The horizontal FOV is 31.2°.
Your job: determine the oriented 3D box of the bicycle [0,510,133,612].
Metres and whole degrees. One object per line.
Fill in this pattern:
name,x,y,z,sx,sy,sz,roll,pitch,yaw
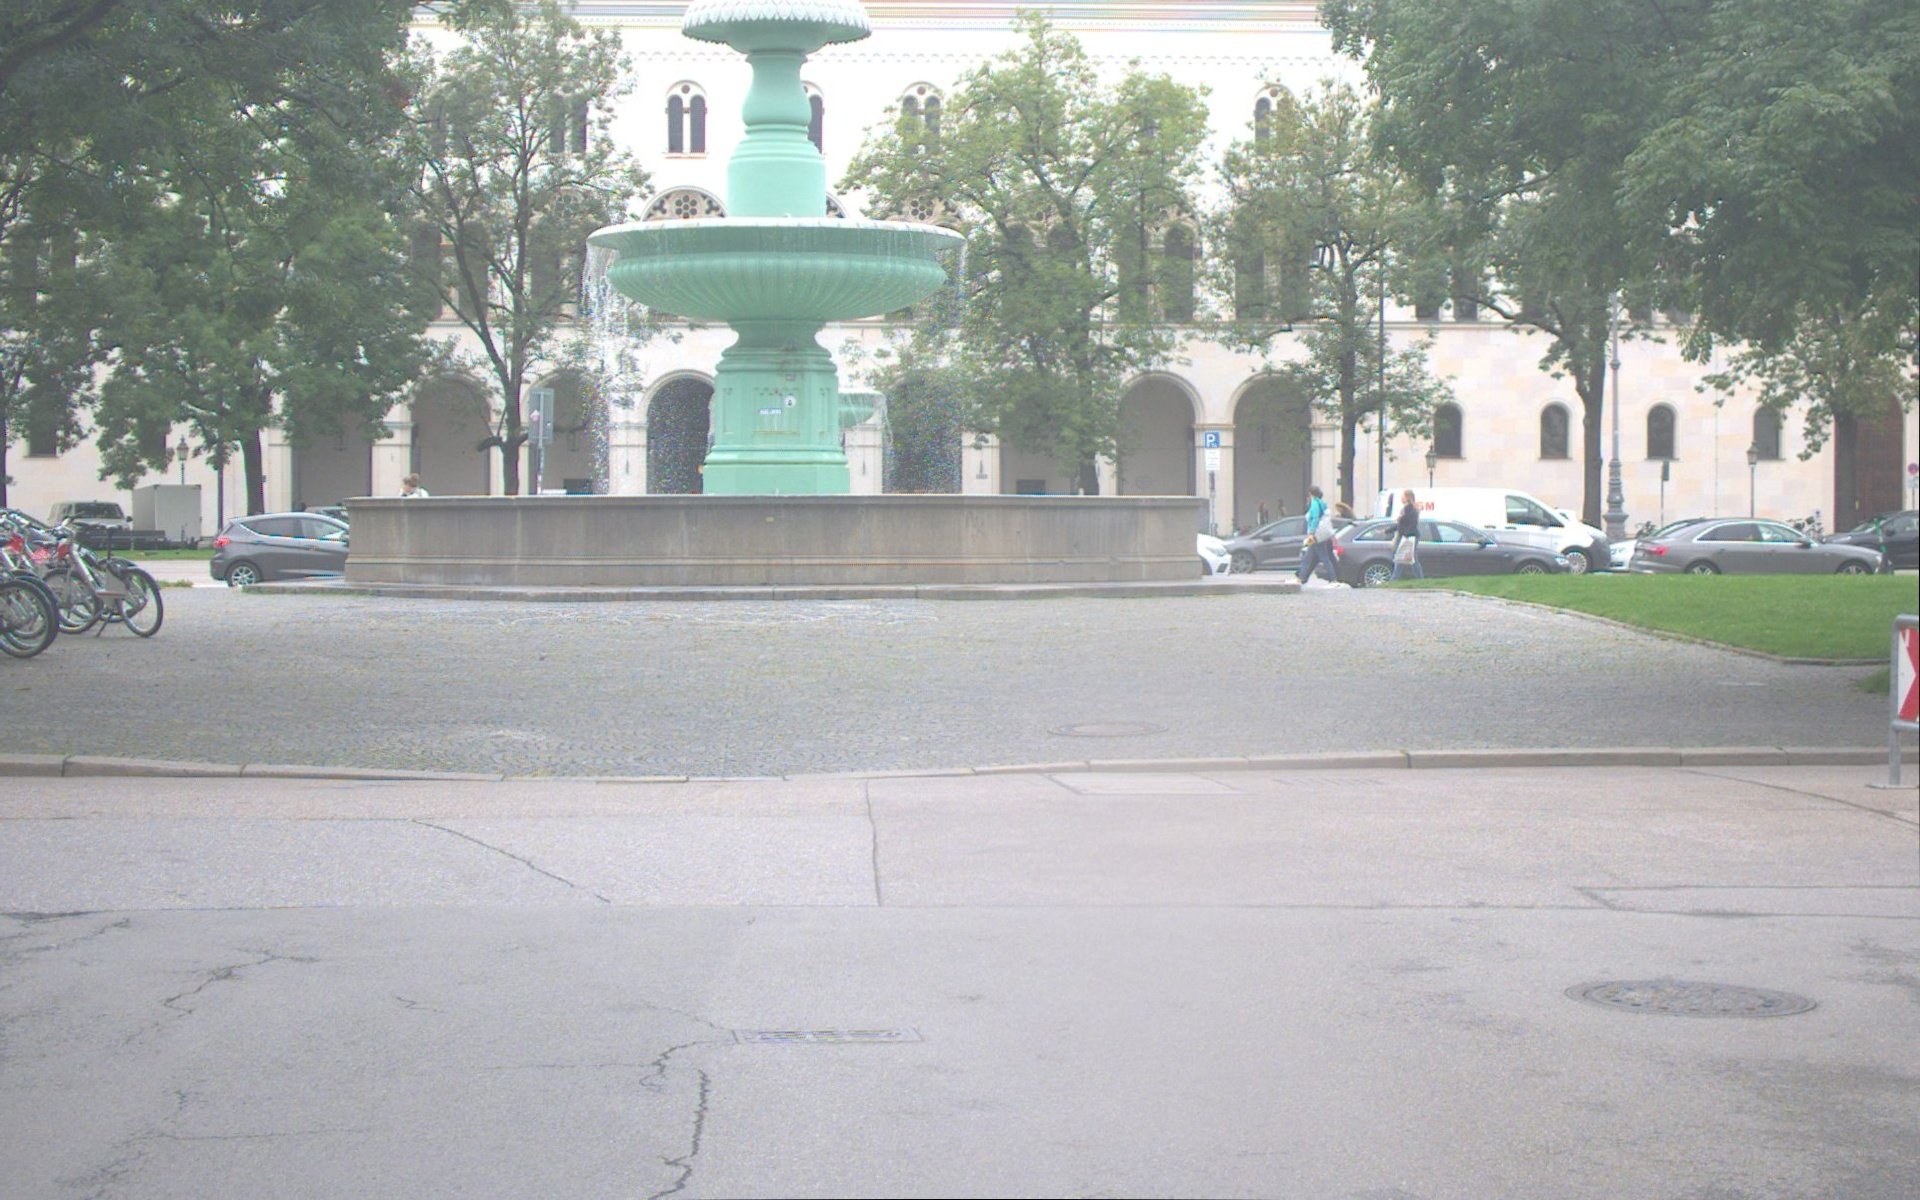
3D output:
bicycle,-9.425,-0.409,35.575,1.536,1.016,0.698,1,2,9

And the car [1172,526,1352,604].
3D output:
car,7.109,-0.835,81.213,3.986,1.744,1.809,1,2,-3

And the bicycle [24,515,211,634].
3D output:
bicycle,-8.032,-0.251,32.797,1.619,1.095,0.616,1,2,9

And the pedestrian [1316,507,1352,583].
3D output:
pedestrian,6.065,-0.896,55.777,0.443,1.210,0.535,1,2,24

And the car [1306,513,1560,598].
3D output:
car,8.606,-0.828,62.796,4.357,1.519,1.804,0,2,-1

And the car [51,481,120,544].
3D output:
car,-29.039,-2.933,114.092,2.131,2.006,4.193,0,2,-16

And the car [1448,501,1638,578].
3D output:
car,13.772,-1.436,81.345,4.096,1.735,1.747,1,2,-5

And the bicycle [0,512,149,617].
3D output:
bicycle,-9.040,-0.368,34.659,1.536,1.016,0.698,1,2,9

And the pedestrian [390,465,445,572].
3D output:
pedestrian,-8.329,-1.251,52.792,0.750,1.634,0.710,0,2,-3

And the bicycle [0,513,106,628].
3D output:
bicycle,-9.185,-0.299,33.744,1.401,1.095,0.656,1,2,9

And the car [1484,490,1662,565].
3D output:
car,15.247,-1.813,85.636,3.986,1.777,1.932,1,2,-4

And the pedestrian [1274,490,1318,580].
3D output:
pedestrian,5.459,-1.059,55.840,0.582,1.460,0.547,1,2,21

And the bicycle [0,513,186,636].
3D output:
bicycle,-8.182,-0.245,32.119,1.710,1.095,0.698,1,2,9

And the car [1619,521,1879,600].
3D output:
car,14.488,-0.742,63.269,4.357,1.413,1.804,0,2,-1

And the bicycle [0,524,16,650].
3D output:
bicycle,-9.225,-0.125,30.252,1.619,1.095,0.698,1,2,9

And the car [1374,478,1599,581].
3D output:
car,10.782,-1.460,70.619,4.326,2.006,1.824,1,2,1

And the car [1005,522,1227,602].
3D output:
car,2.825,-0.705,62.939,3.987,1.398,1.825,0,2,0

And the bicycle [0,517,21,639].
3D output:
bicycle,-9.440,-0.213,31.205,1.619,1.095,0.698,1,2,9

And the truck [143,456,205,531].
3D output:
truck,-26.606,-3.617,116.277,1.993,2.480,4.002,1,2,-13

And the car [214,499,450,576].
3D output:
car,-11.343,-1.144,62.321,3.986,1.371,2.000,0,2,-4
